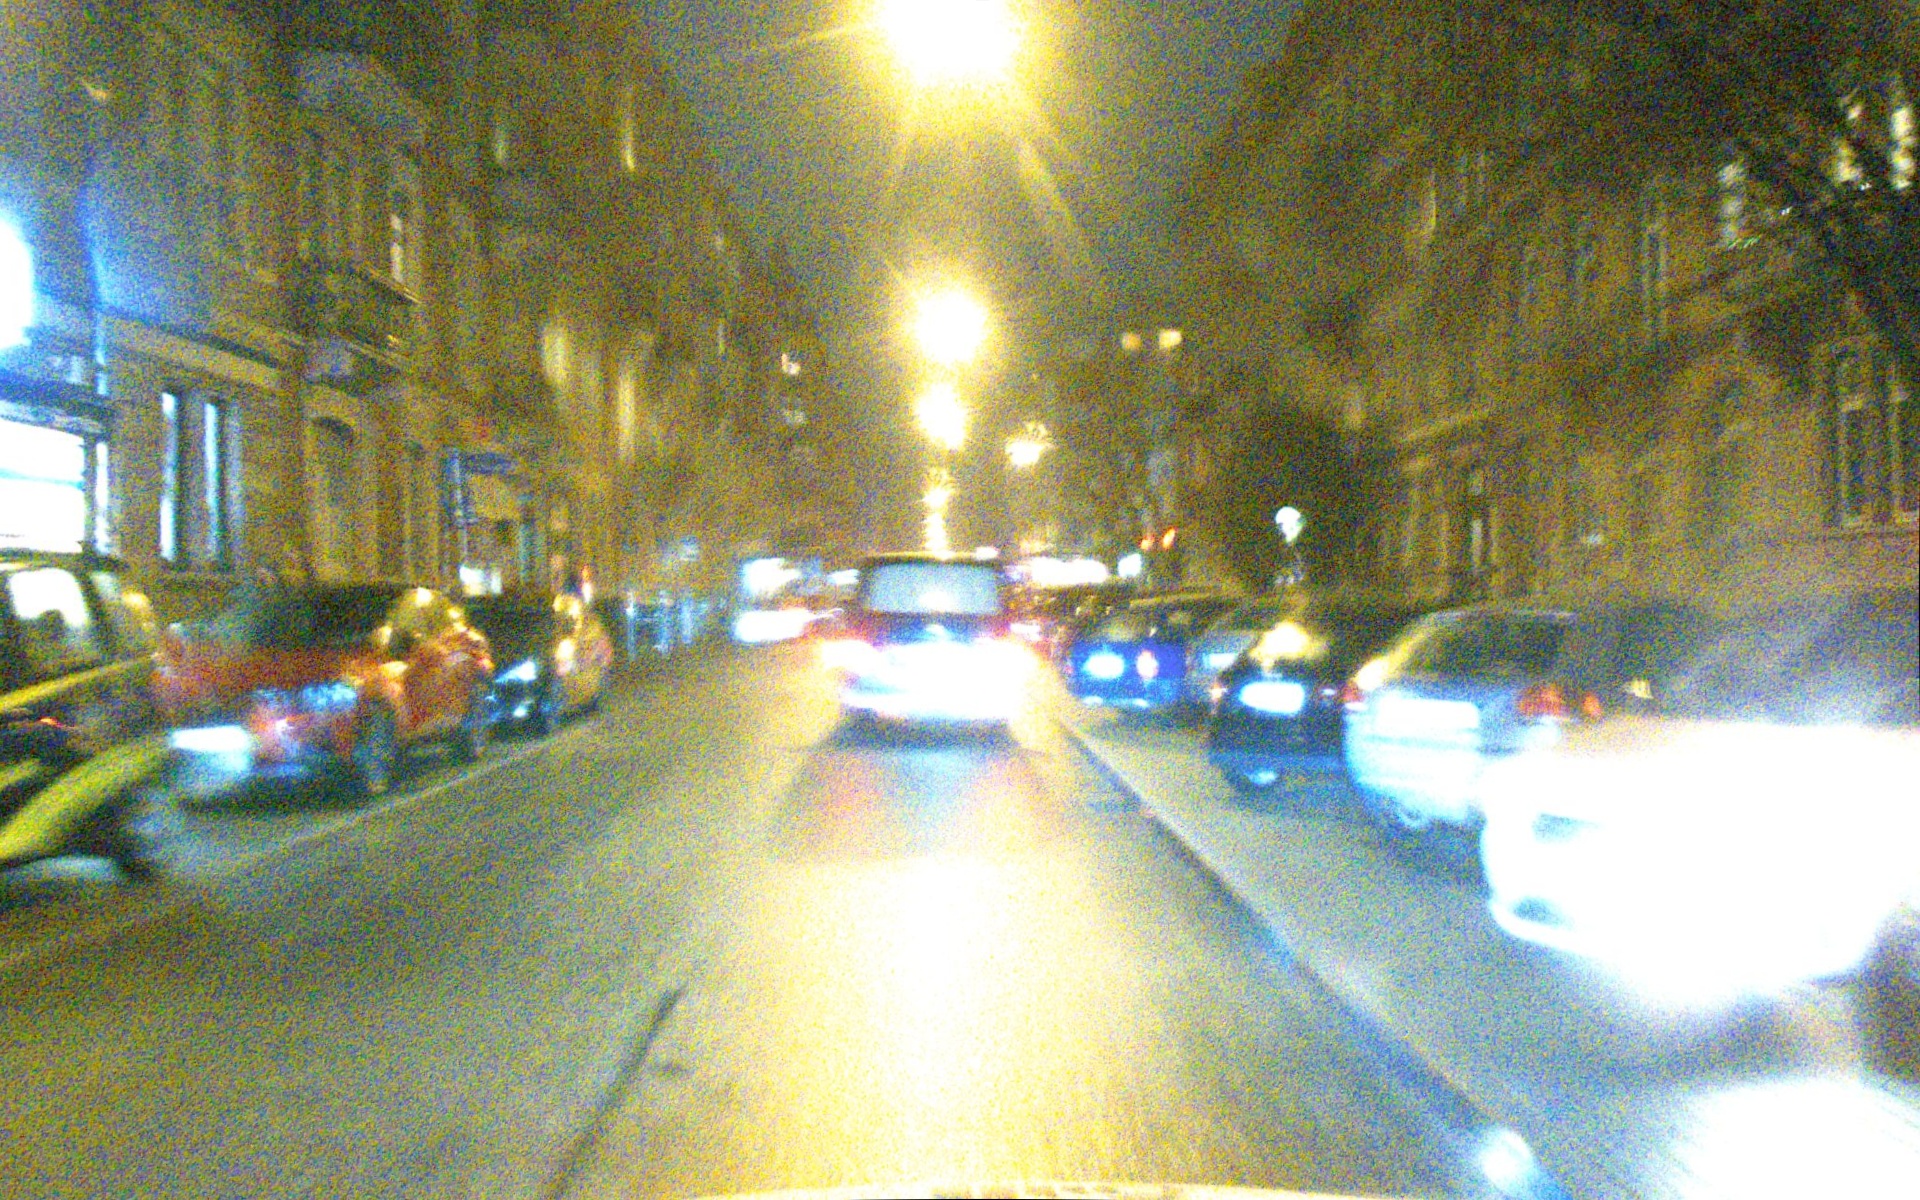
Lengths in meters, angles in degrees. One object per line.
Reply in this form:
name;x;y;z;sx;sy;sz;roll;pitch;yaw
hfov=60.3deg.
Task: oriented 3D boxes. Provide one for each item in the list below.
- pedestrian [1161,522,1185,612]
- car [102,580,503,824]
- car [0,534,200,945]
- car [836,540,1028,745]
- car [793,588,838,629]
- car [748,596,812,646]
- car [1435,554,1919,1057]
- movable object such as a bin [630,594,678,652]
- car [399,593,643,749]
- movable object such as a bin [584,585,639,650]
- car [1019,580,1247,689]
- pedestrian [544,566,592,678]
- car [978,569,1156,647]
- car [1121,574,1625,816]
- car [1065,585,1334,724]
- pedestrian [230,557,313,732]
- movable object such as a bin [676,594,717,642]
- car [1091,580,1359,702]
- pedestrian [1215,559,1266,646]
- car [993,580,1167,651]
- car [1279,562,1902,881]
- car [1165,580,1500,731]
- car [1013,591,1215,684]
pedestrian;8.497;-1.308;66.034;0.873;3.589;0.791;0;0;-1
car;-4.830;0.644;12.774;1.571;1.579;4.024;0;1;-2
car;-4.847;0.591;7.046;1.571;1.736;3.720;0;0;-2
car;-0.326;0.448;18.938;1.953;2.086;3.999;0;-1;-1
car;-5.837;0.332;66.976;1.777;1.584;4.073;0;0;-5
car;-5.564;0.621;51.400;1.555;1.508;3.793;0;0;0
car;3.824;0.612;6.812;3.605;1.569;1.543;-2;0;-32
movable object such as a bin;-7.674;0.574;41.536;0.955;1.423;1.133;1;0;1
car;-4.704;0.688;18.343;1.652;1.481;4.314;0;1;-2
movable object such as a bin;-8.016;0.399;38.085;0.955;1.444;1.133;1;0;1
car;2.793;0.504;26.335;3.620;1.608;1.569;-1;0;-41
pedestrian;-6.669;0.368;28.151;0.579;1.852;0.794;2;0;-1
car;3.026;0.189;46.456;4.738;2.084;2.044;-1;1;-32
car;3.358;0.647;13.173;3.957;1.579;1.781;-2;0;-37
car;3.048;0.621;20.531;1.575;1.486;3.664;-2;0;40
pedestrian;-7.285;0.461;17.514;0.626;1.812;0.549;-1;0;-1
movable object such as a bin;-8.107;0.550;50.870;1.026;1.423;1.158;1;0;1
car;3.788;0.532;23.568;3.603;1.608;1.577;-1;0;-30
pedestrian;6.288;0.051;37.166;0.851;1.888;0.992;-3;0;-4
car;2.962;0.363;40.828;3.941;1.518;1.719;-3;0;-27
car;4.086;0.612;10.477;3.961;1.579;1.972;-2;0;-39
car;4.333;0.574;18.956;3.962;1.477;1.664;-2;0;-40
car;2.857;0.653;30.396;3.615;1.608;1.571;0;0;-38
